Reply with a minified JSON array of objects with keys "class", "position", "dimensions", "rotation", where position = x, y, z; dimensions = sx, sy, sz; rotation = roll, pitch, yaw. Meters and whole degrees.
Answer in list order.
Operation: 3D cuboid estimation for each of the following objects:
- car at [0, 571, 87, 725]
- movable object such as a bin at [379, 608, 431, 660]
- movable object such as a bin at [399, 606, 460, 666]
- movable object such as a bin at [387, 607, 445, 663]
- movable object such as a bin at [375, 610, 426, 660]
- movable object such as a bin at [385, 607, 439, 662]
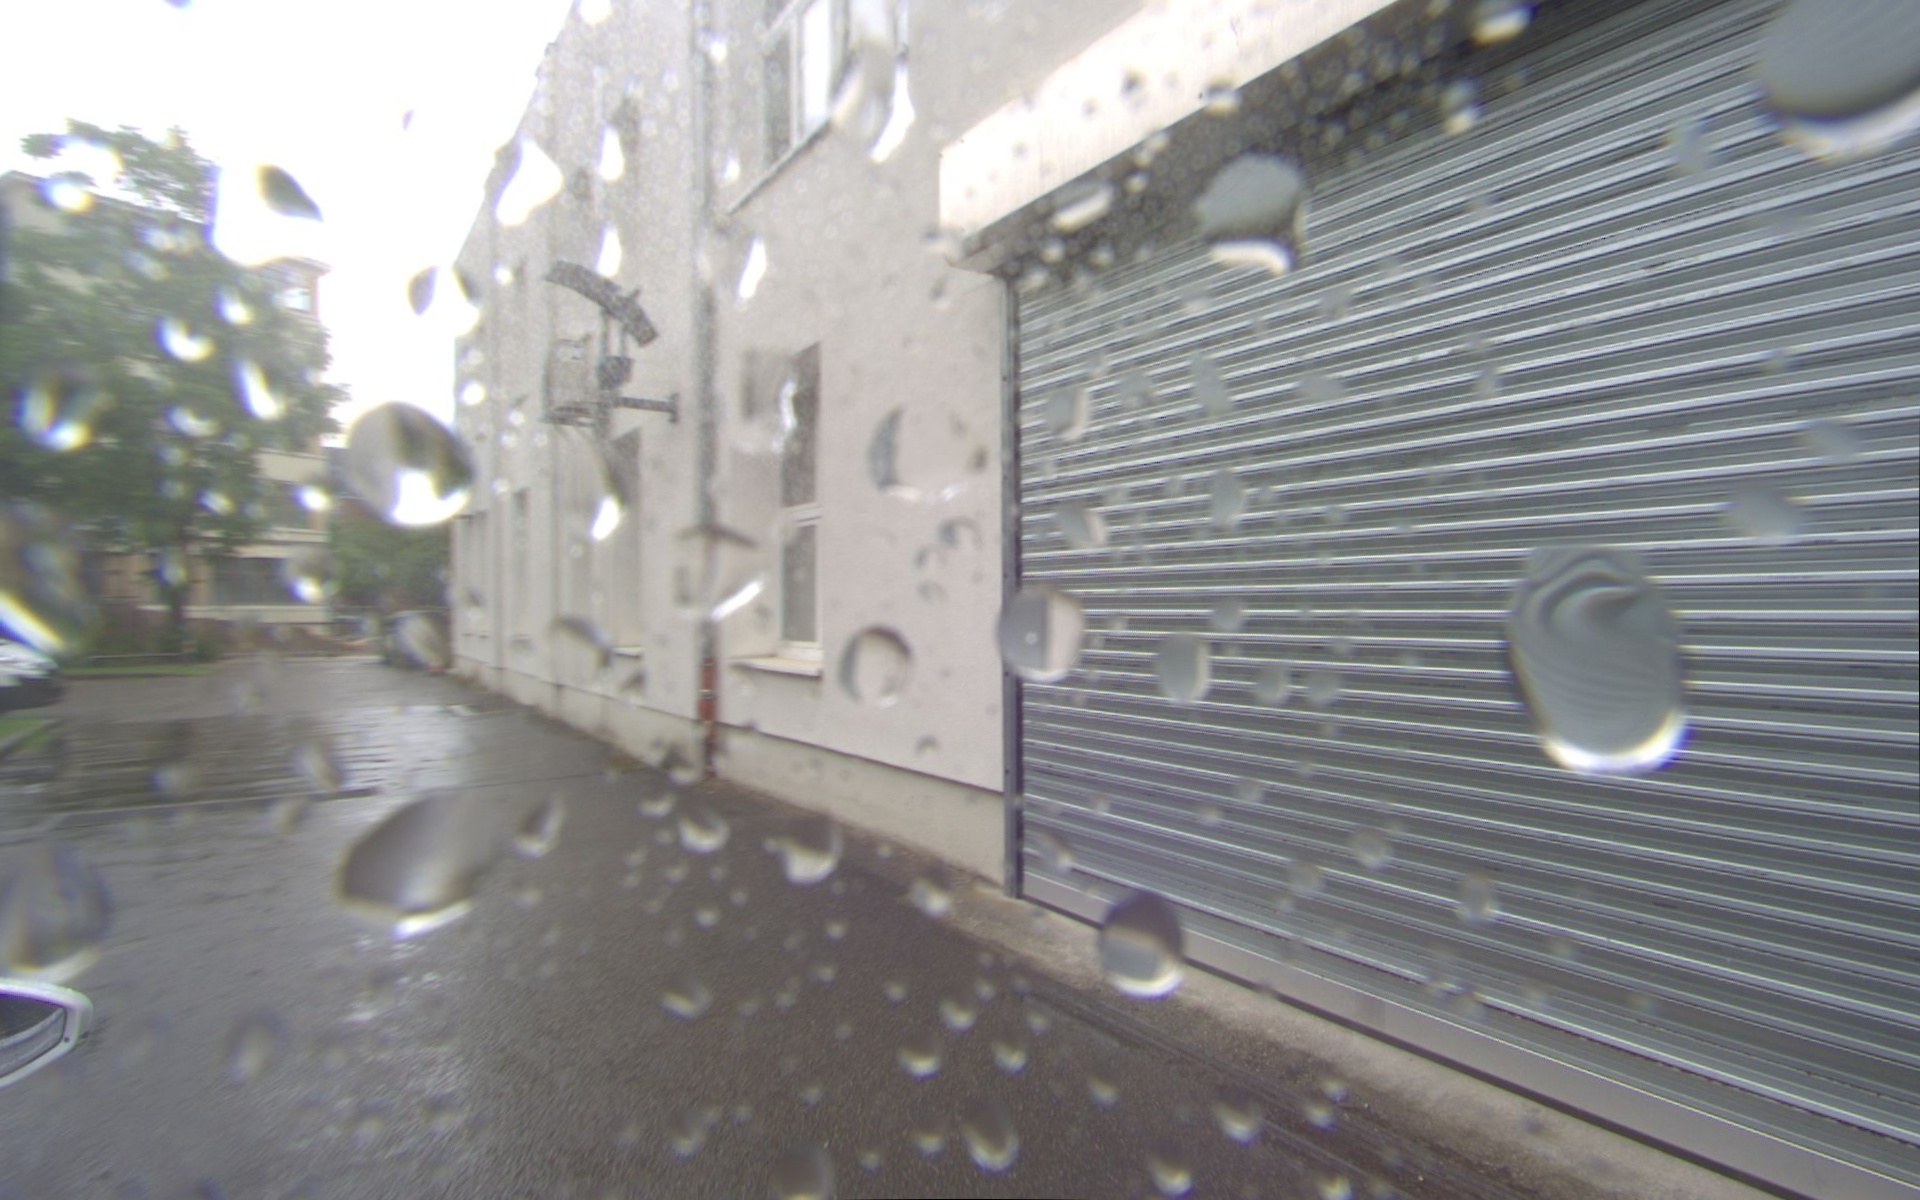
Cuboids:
[{"class":"car","position":[-14.809,0.657,13.147],"dimensions":[4.731,2.041,1.988],"rotation":[-1,1,-33]},{"class":"movable object such as a bin","position":[-16.081,0.994,29.015],"dimensions":[1.203,1.455,1.251],"rotation":[0,-2,-35]},{"class":"movable object such as a bin","position":[-13.365,0.903,25.213],"dimensions":[1.203,1.455,1.228],"rotation":[0,-2,-35]},{"class":"movable object such as a bin","position":[-14.438,0.933,26.576],"dimensions":[1.203,1.455,1.286],"rotation":[0,-2,-35]},{"class":"movable object such as a bin","position":[-16.852,1.059,30.147],"dimensions":[1.203,1.455,1.251],"rotation":[0,-2,-35]},{"class":"movable object such as a bin","position":[-15.278,0.965,27.907],"dimensions":[1.203,1.487,1.228],"rotation":[0,-2,-35]}]
